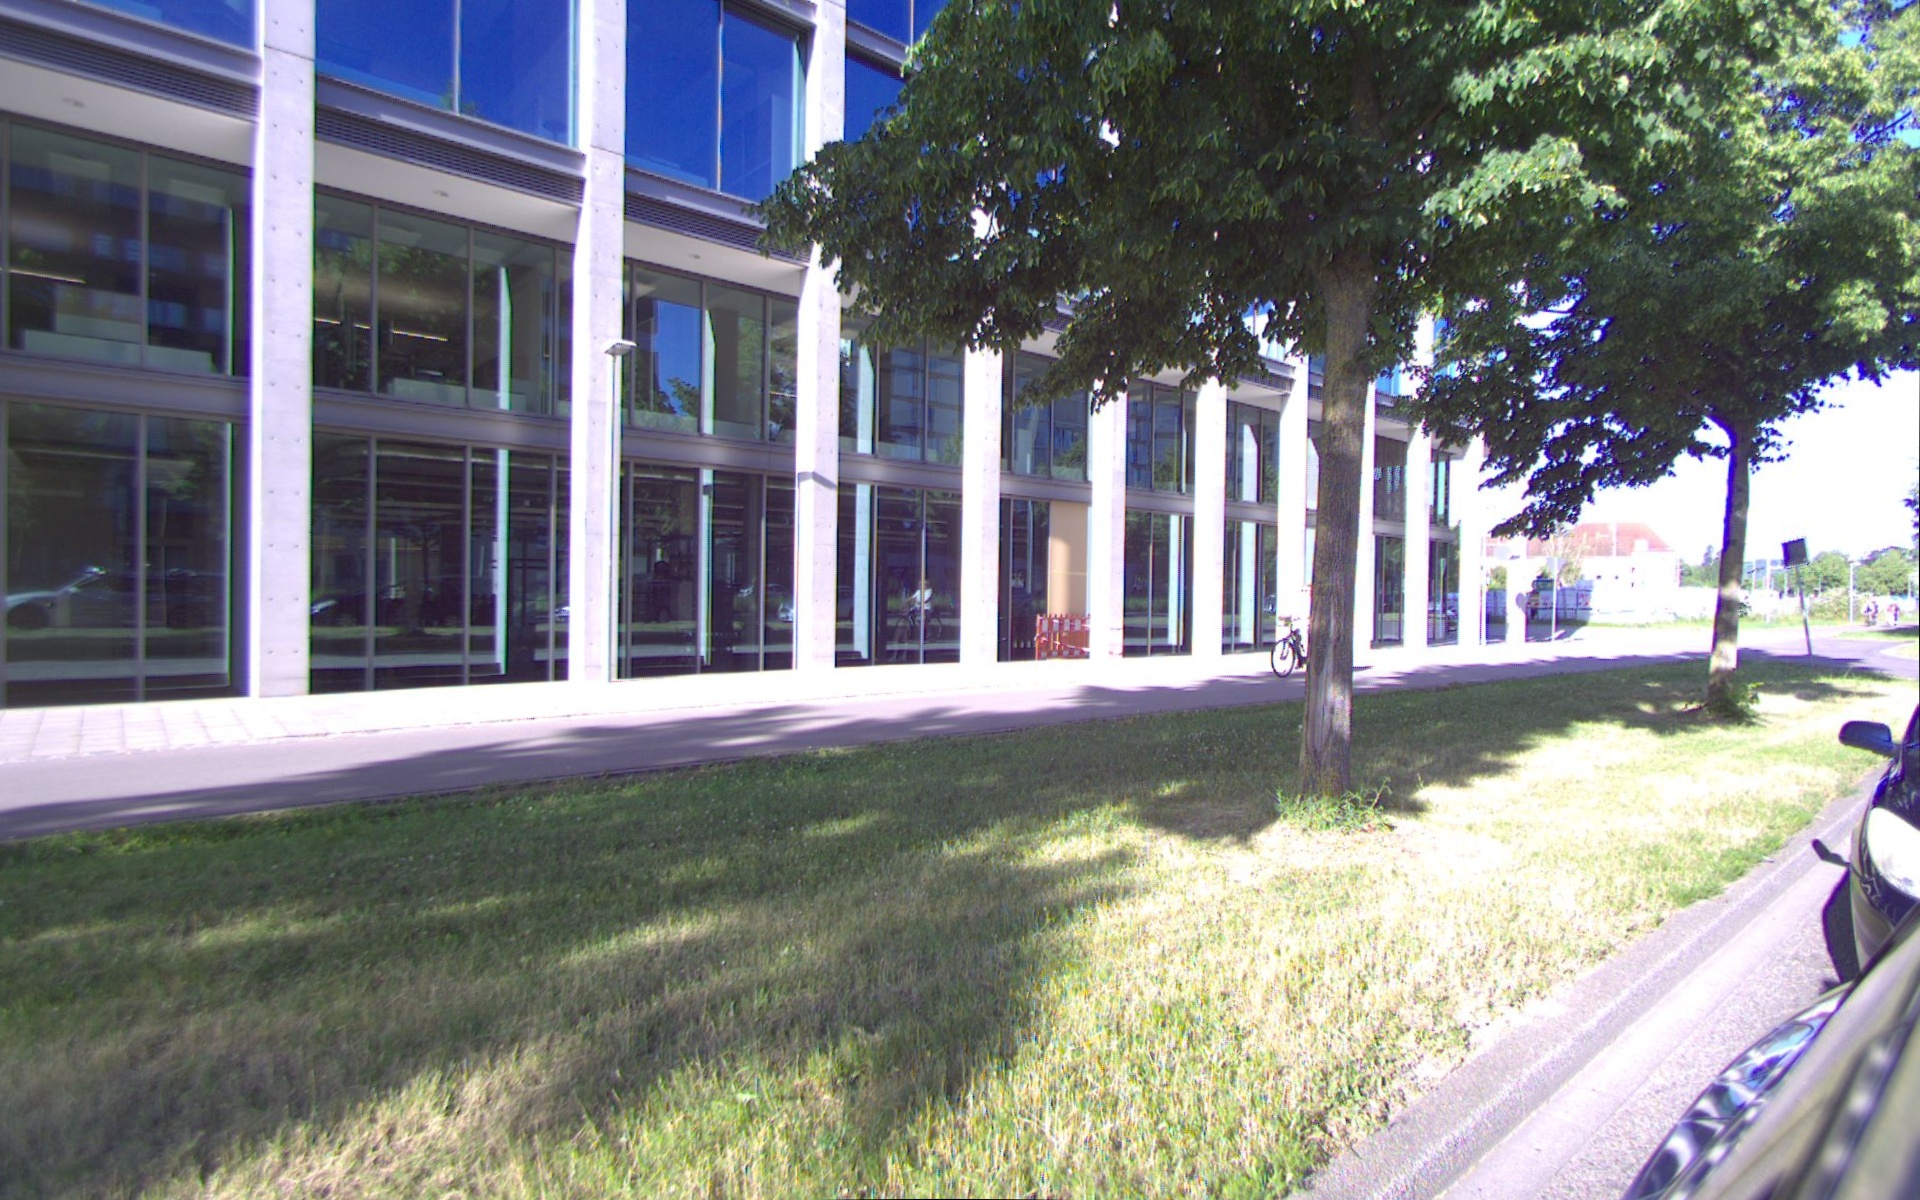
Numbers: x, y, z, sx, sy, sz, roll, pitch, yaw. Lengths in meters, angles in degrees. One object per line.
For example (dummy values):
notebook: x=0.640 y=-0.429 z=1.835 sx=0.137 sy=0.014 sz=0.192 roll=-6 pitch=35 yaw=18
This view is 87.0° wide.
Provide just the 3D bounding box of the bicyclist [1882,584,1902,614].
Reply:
bicyclist: x=65.556 y=-0.044 z=71.184 sx=1.101 sy=2.082 sz=0.930 roll=0 pitch=0 yaw=-41

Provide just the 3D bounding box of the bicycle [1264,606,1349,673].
bicycle: x=6.527 y=0.722 z=19.018 sx=1.894 sy=1.170 sz=0.591 roll=1 pitch=2 yaw=-41

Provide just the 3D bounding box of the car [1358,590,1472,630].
car: x=19.507 y=0.390 z=43.493 sx=1.963 sy=1.598 sz=3.997 roll=0 pitch=1 yaw=-38

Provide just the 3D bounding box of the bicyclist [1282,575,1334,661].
bicyclist: x=6.541 y=0.334 z=19.004 sx=0.687 sy=1.558 sz=0.591 roll=1 pitch=2 yaw=-41

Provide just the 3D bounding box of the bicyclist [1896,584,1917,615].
bicyclist: x=63.412 y=-0.037 z=67.791 sx=1.101 sy=2.082 sz=0.930 roll=0 pitch=0 yaw=-41

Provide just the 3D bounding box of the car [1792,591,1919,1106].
car: x=4.872 y=0.734 z=3.918 sx=4.403 sy=1.500 sz=1.845 roll=0 pitch=1 yaw=-41

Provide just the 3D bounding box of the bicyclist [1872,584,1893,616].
bicyclist: x=62.504 y=-0.010 z=68.547 sx=1.101 sy=2.082 sz=0.930 roll=0 pitch=0 yaw=-41

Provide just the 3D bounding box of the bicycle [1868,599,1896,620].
bicycle: x=62.477 y=0.638 z=68.542 sx=3.930 sy=1.380 sz=0.930 roll=0 pitch=1 yaw=-41

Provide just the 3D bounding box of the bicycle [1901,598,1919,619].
bicycle: x=66.535 y=0.577 z=70.546 sx=3.930 sy=1.380 sz=0.930 roll=0 pitch=1 yaw=-41

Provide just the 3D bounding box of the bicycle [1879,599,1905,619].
bicycle: x=65.729 y=0.602 z=71.371 sx=3.930 sy=1.380 sz=0.930 roll=0 pitch=1 yaw=-41

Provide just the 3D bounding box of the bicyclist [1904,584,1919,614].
bicyclist: x=66.494 y=-0.070 z=70.480 sx=1.101 sy=2.082 sz=0.930 roll=0 pitch=0 yaw=-41

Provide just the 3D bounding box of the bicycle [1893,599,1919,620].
bicycle: x=63.471 y=0.610 z=67.848 sx=3.930 sy=1.380 sz=0.930 roll=0 pitch=1 yaw=-41
